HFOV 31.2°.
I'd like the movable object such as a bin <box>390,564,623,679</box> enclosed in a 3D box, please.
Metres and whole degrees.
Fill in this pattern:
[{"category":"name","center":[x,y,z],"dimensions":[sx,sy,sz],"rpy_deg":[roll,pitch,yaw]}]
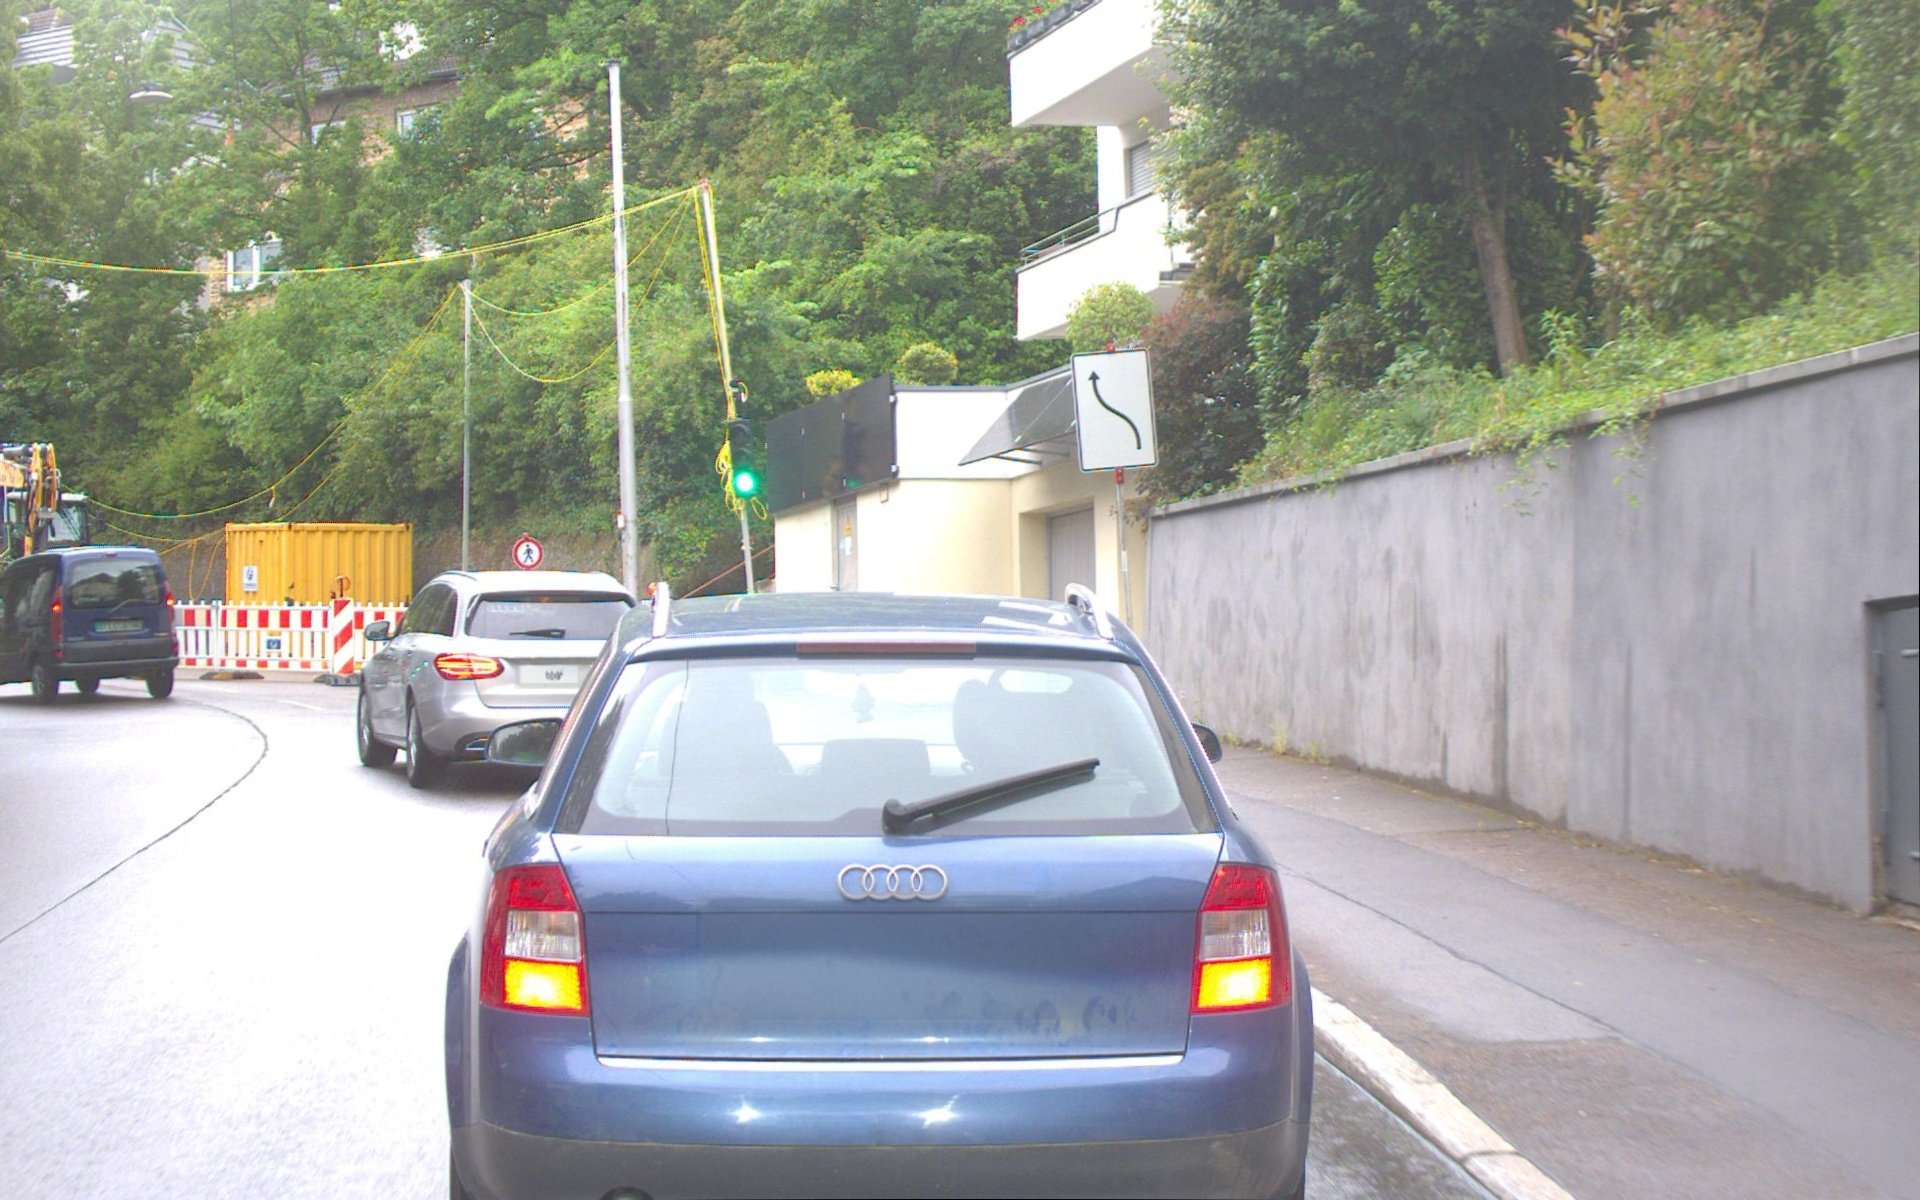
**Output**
[{"category":"movable object such as a bin","center":[-6.488,0.269,48.851],"dimensions":[1.993,1.514,4.001],"rpy_deg":[0,1,-28]}]

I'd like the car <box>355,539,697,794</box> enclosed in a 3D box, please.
[{"category":"car","center":[-3.172,0.385,24.391],"dimensions":[1.925,1.612,4.322],"rpy_deg":[-1,1,-13]}]

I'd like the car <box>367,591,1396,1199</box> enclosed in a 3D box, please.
[{"category":"car","center":[-0.184,0.729,8.019],"dimensions":[1.785,1.437,3.964],"rpy_deg":[1,0,-1]}]

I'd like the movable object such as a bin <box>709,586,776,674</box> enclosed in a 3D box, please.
[{"category":"movable object such as a bin","center":[-2.623,0.361,41.509],"dimensions":[0.719,1.028,0.592],"rpy_deg":[-2,1,-10]}]

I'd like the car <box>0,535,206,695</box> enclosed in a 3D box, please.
[{"category":"car","center":[-10.877,0.176,41.973],"dimensions":[1.994,1.787,4.000],"rpy_deg":[-3,1,-31]}]

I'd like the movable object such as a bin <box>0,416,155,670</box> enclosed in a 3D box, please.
[{"category":"movable object such as a bin","center":[-15.959,-0.961,57.766],"dimensions":[2.819,4.000,7.327],"rpy_deg":[-1,1,-29]}]
